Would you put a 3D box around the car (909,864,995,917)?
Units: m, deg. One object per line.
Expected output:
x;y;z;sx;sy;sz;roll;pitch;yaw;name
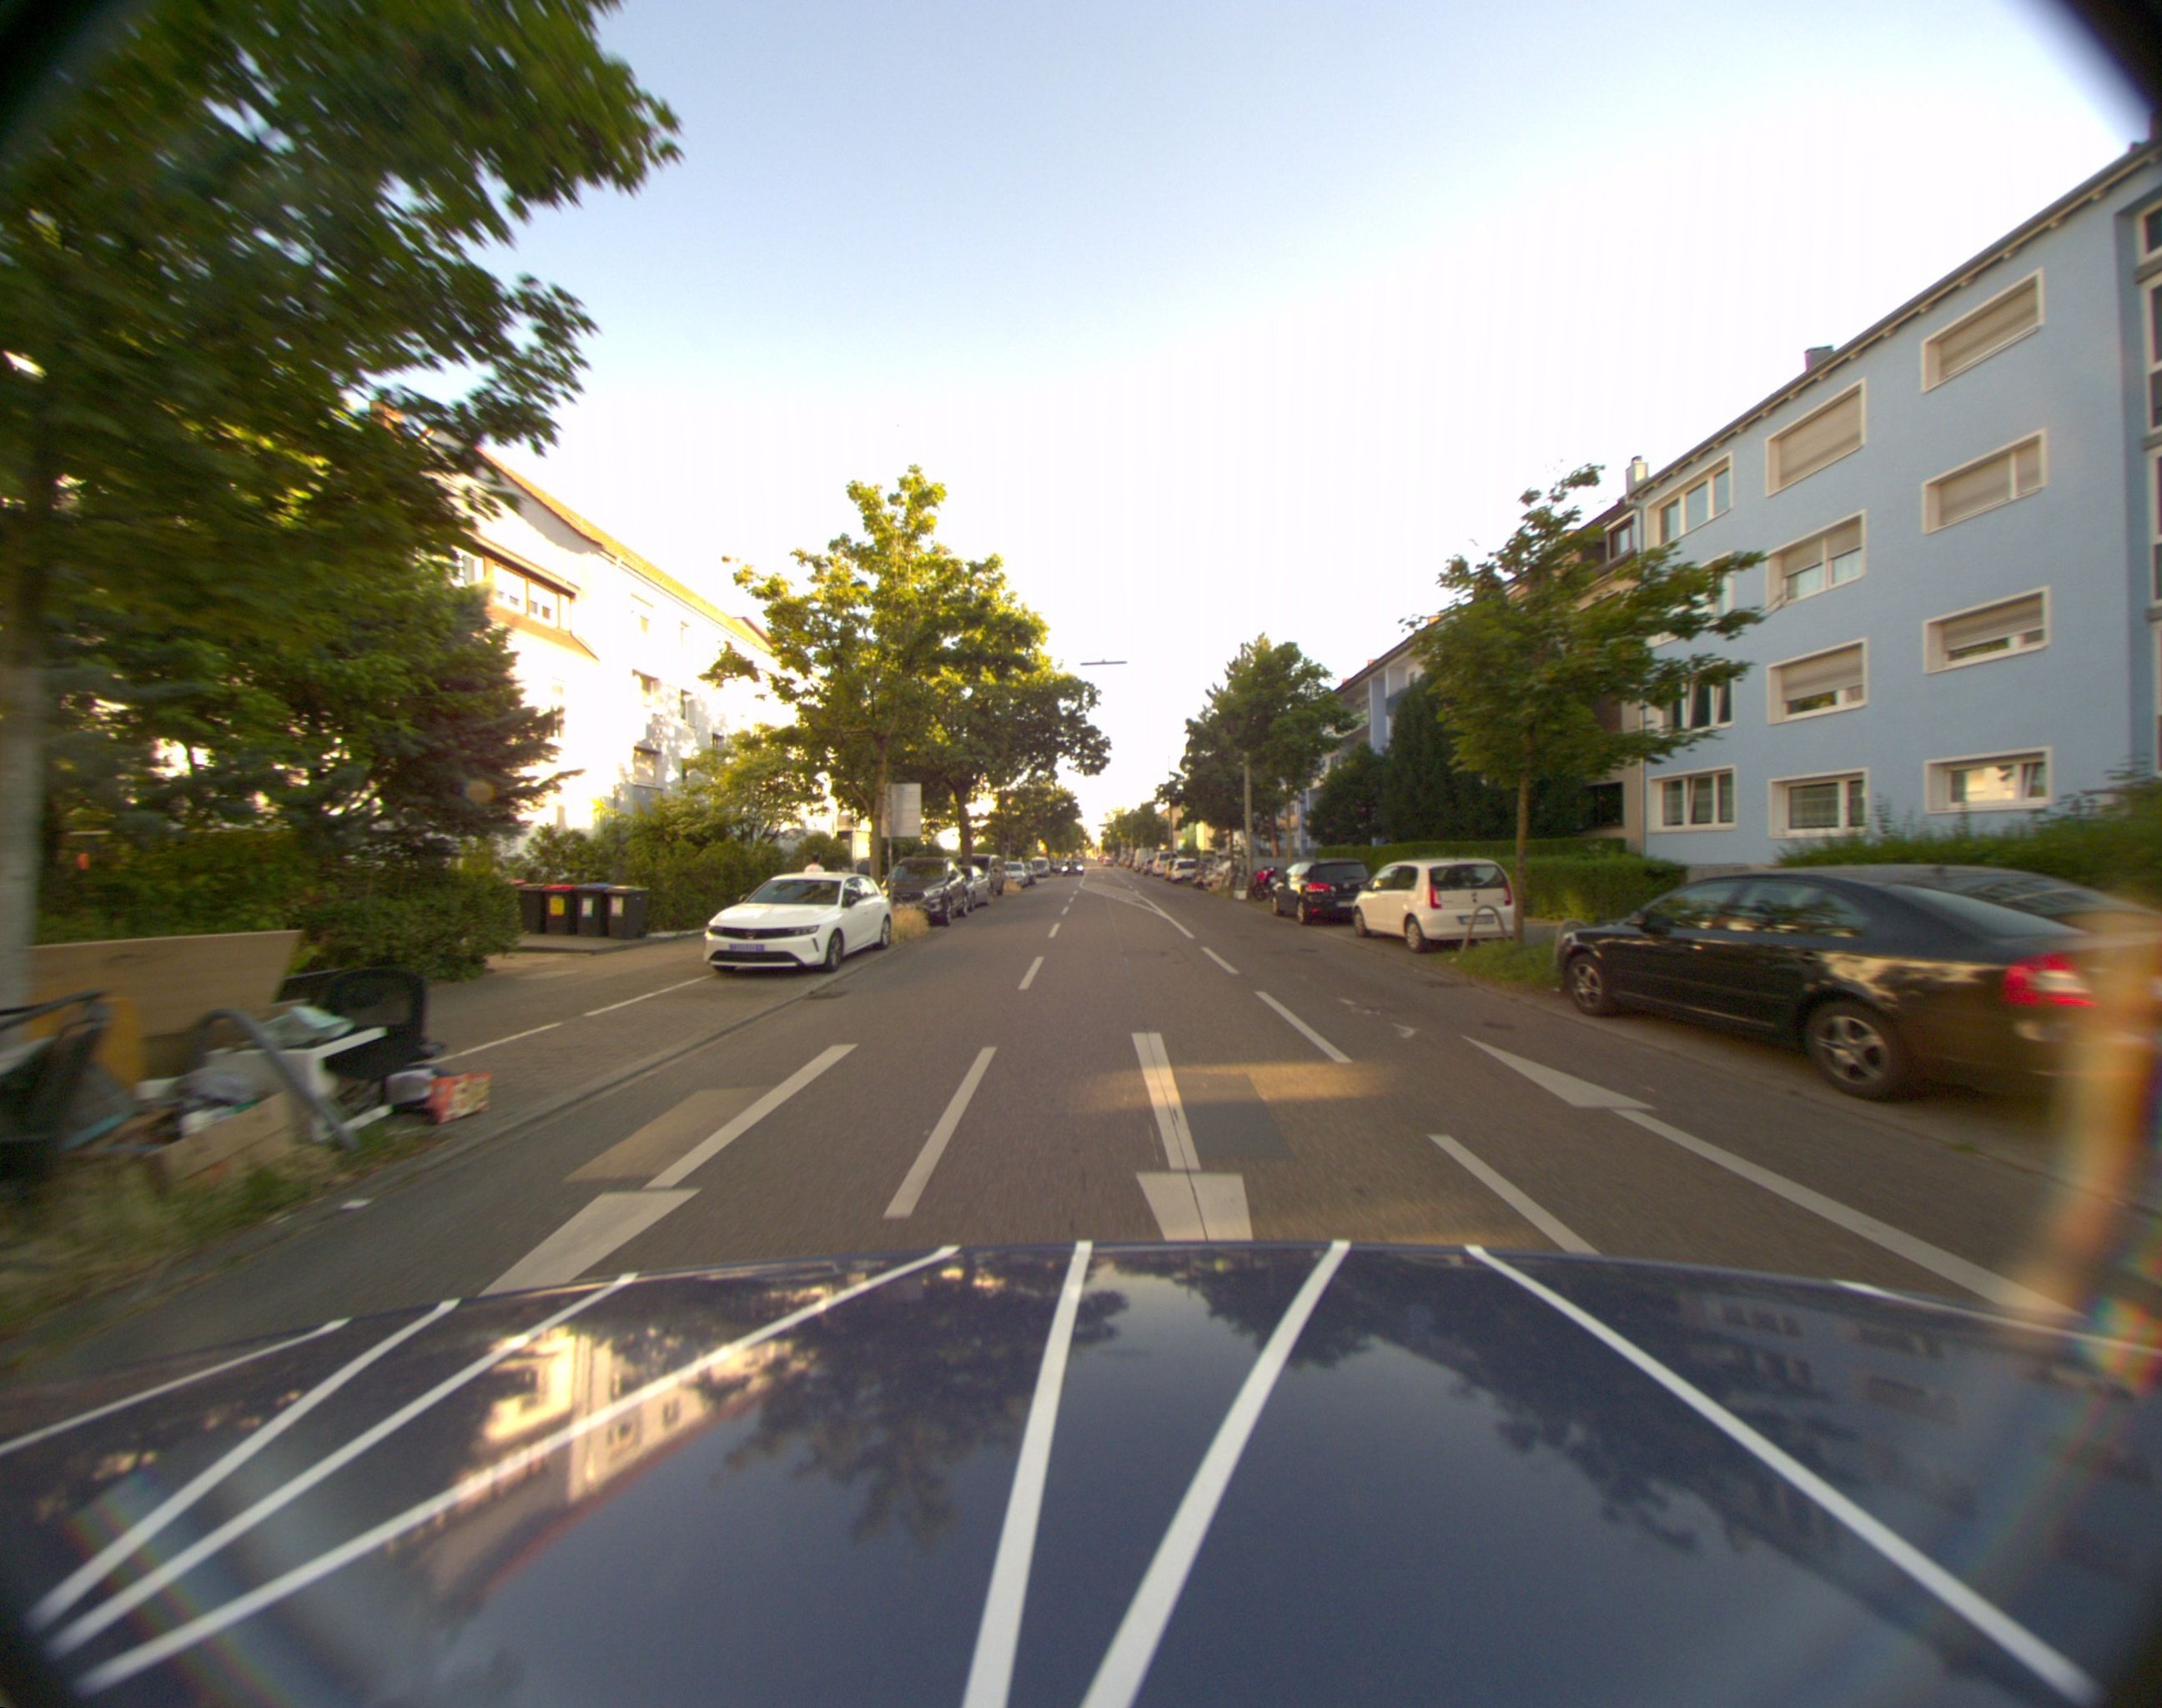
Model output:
-4.143;1.127;25.146;1.788;1.495;4.832;-1;0;3;car

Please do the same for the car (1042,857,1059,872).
-3.212;1.121;81.079;1.798;1.558;3.671;0;0;-2;car

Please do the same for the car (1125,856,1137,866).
8.466;1.216;128.745;1.808;1.587;3.957;-2;0;2;car

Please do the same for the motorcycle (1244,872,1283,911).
5.962;1.191;24.888;0.640;1.129;2.172;-3;0;-2;motorcycle

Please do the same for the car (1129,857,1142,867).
7.905;1.184;110.763;1.762;1.439;3.787;-1;0;6;car

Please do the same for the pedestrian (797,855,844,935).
-6.095;0.943;17.827;0.669;1.773;0.764;-4;2;1;pedestrian

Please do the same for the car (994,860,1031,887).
-3.857;1.103;43.391;1.738;1.435;4.305;0;-1;0;car

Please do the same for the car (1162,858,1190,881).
6.453;1.017;51.740;1.577;1.460;3.491;-3;0;3;car

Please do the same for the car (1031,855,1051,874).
-3.785;1.006;72.457;1.798;1.761;3.999;0;0;-2;car

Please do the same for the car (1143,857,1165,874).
6.763;1.050;70.703;1.808;1.489;3.957;-2;0;2;car

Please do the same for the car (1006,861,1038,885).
-3.734;1.205;48.691;1.738;1.435;4.339;0;-1;0;car

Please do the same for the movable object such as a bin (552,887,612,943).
-10.076;1.224;15.354;0.727;1.052;0.684;2;0;0;movable object such as a bin

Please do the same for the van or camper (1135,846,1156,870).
7.159;0.473;84.598;1.917;2.528;5.335;-1;0;1;van or camper

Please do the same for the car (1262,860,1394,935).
5.759;0.944;18.321;1.842;1.508;4.316;-3;0;2;car

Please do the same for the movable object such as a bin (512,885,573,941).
-10.854;1.181;15.334;0.727;1.052;0.684;2;0;0;movable object such as a bin

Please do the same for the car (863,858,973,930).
-4.166;0.953;20.203;1.921;1.672;4.707;0;0;0;car

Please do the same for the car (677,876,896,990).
-4.439;1.113;12.242;1.766;1.394;4.334;0;0;1;car

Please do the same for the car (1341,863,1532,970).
5.938;0.958;13.183;1.595;1.483;3.641;-2;1;0;car

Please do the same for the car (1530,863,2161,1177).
5.802;0.834;5.914;1.998;1.439;4.458;-1;0;1;car

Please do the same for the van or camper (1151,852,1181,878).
6.877;0.847;61.991;1.809;2.002;4.864;-2;0;0;van or camper

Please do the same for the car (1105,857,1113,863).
7.408;1.553;201.020;1.808;1.390;3.957;-2;0;2;car

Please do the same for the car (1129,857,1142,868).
7.646;1.150;106.811;1.762;1.439;3.592;-1;0;6;car

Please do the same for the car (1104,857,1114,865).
5.127;1.233;138.146;1.726;1.473;3.956;0;0;0;car

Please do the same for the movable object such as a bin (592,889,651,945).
-9.277;1.259;15.361;0.727;1.052;0.684;2;0;0;movable object such as a bin

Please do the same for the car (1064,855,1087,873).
-0.496;0.896;70.646;1.999;1.525;4.000;-2;0;0;car

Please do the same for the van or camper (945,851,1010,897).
-4.486;0.892;33.649;1.998;1.831;5.260;-1;-1;1;van or camper

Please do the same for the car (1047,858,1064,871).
-2.956;1.206;88.543;1.798;1.558;3.672;0;0;1;car

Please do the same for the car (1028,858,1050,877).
-3.676;1.147;67.066;1.798;1.577;3.999;0;0;-2;car

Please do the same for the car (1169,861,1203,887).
6.391;1.183;46.687;1.684;1.434;3.882;-3;0;3;car
